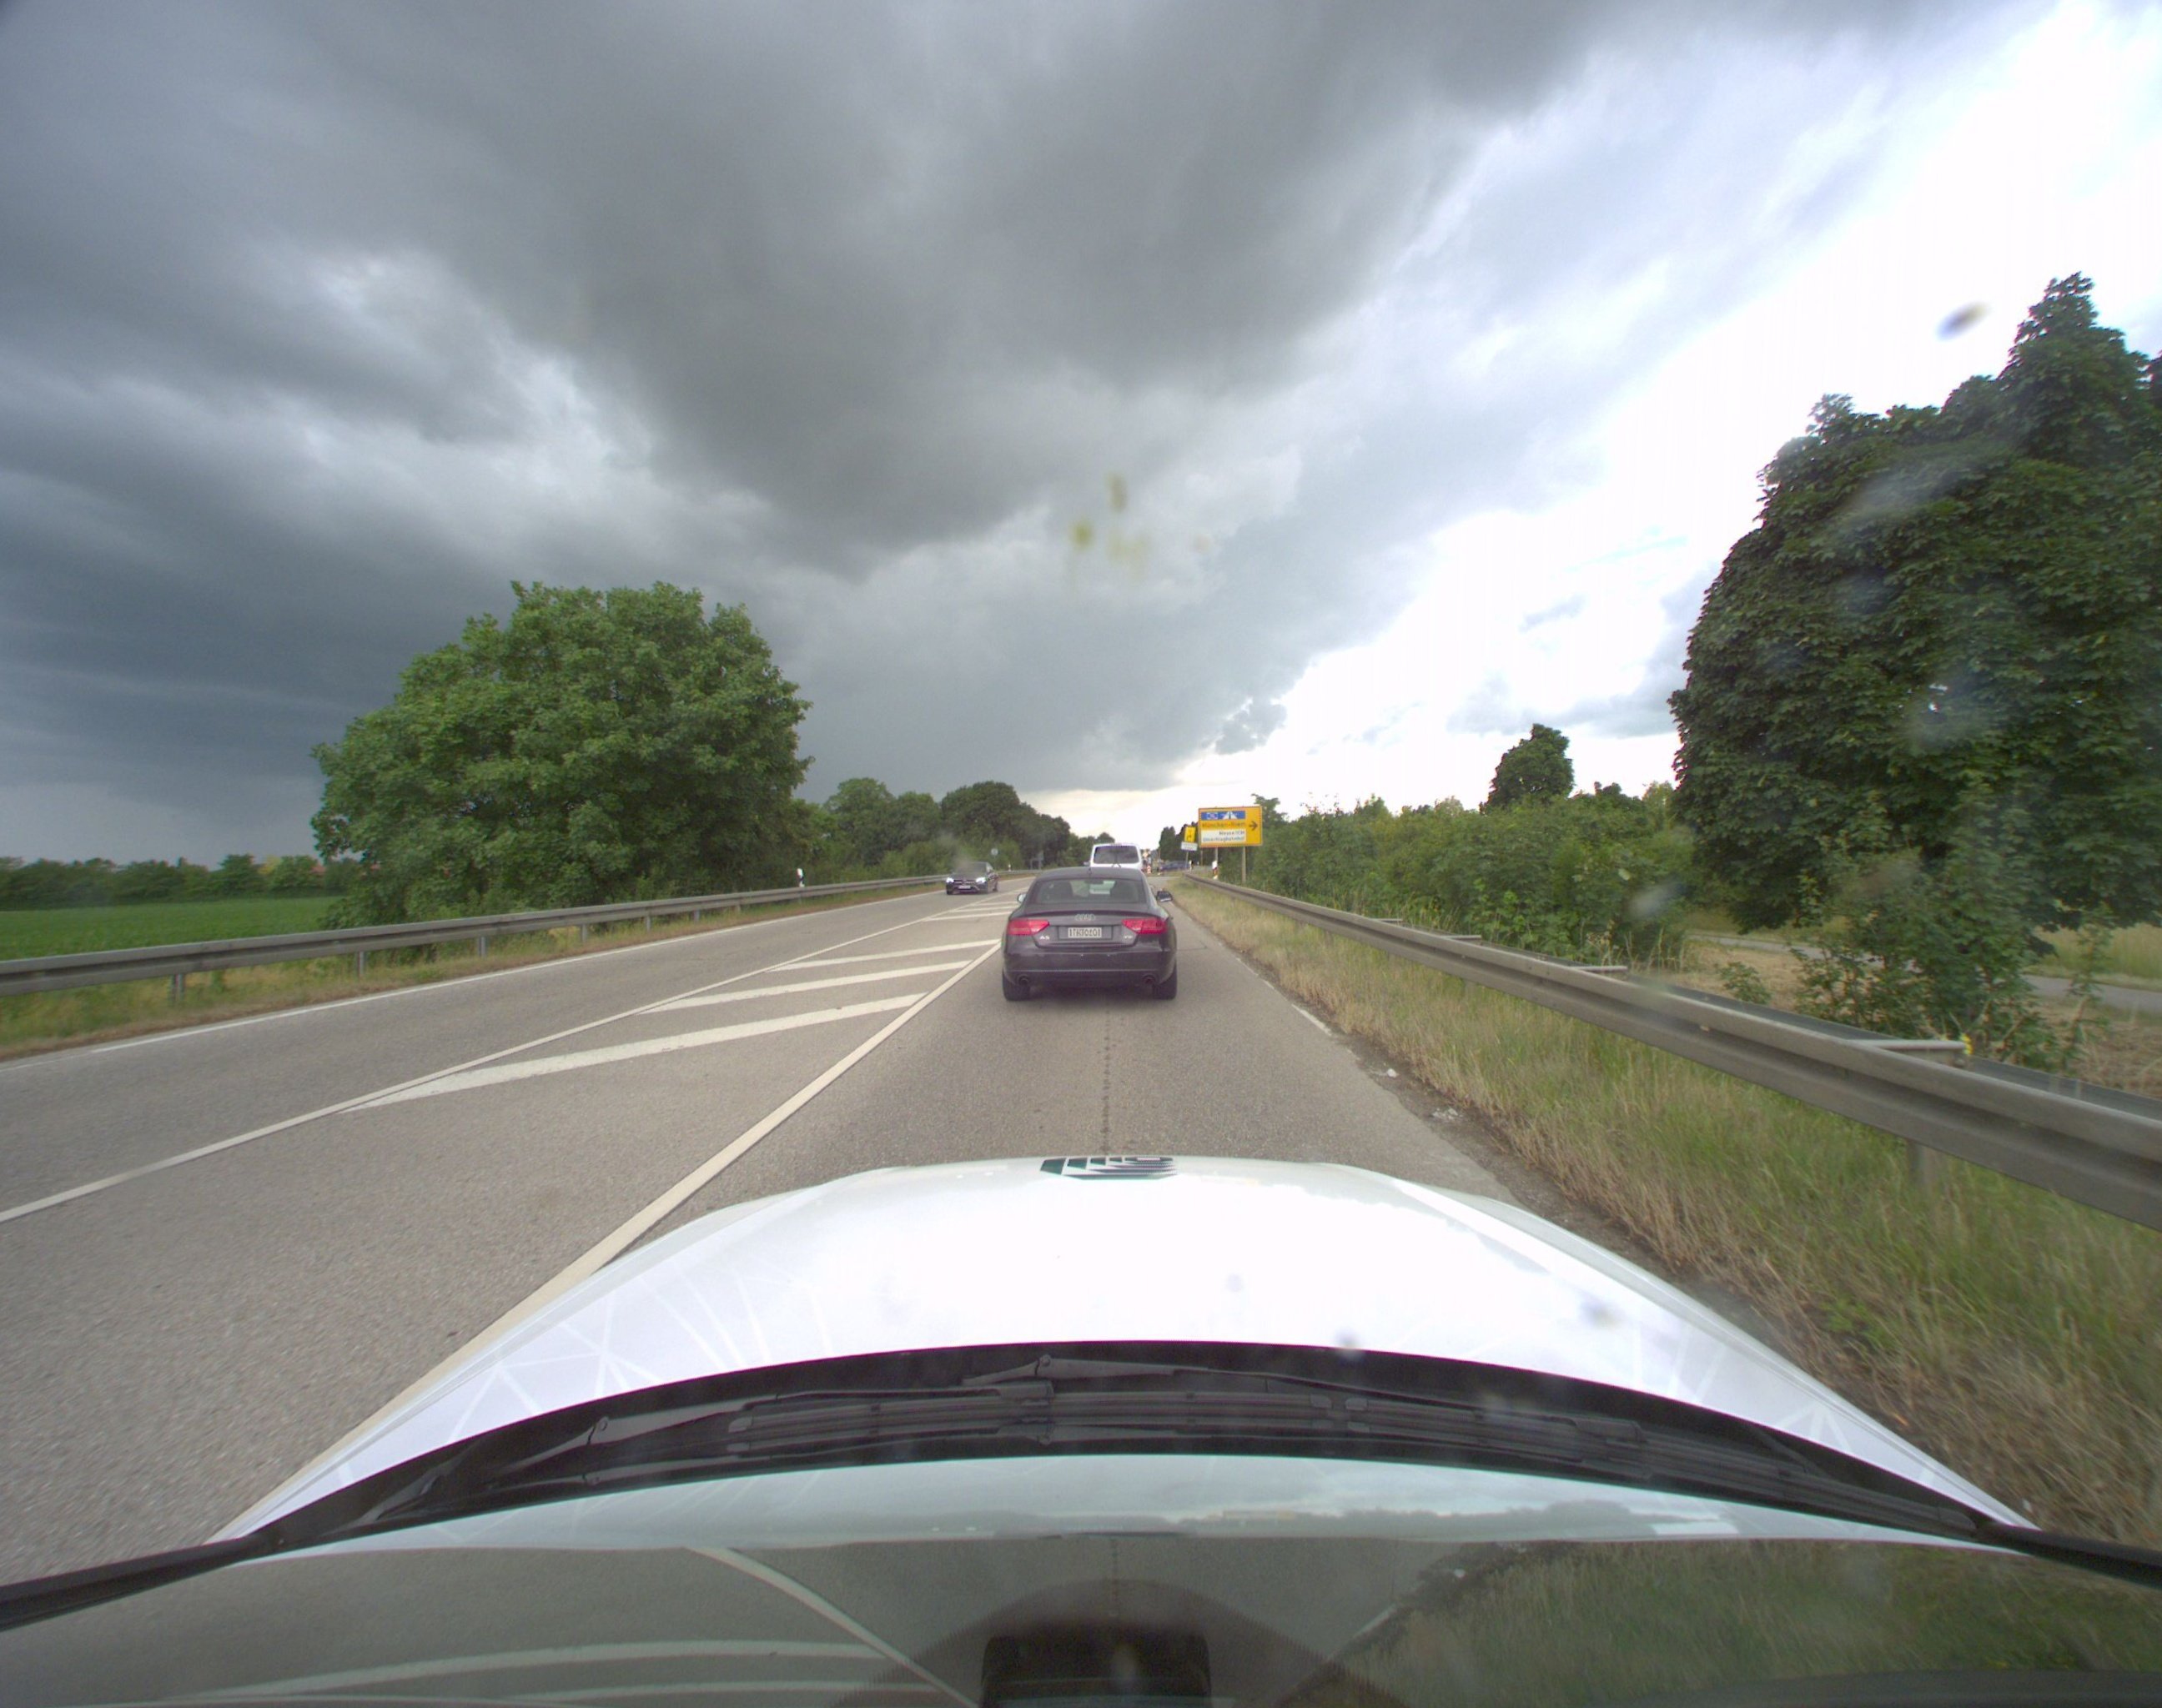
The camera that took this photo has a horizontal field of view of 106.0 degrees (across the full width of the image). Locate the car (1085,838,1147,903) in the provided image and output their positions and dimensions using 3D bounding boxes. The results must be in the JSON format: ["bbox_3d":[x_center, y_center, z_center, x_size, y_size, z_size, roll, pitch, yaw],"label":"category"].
[{"bbox_3d":[1.165,0.520,27.263,1.903,2.013,4.002,-1,0,2],"label":"car"}]

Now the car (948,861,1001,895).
[{"bbox_3d":[-4.762,1.036,36.889,1.616,1.379,4.514,-1,0,2],"label":"car"}]

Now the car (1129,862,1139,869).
[{"bbox_3d":[12.297,2.697,188.705,2.197,1.582,4.381,-1,0,2],"label":"car"}]

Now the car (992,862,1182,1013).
[{"bbox_3d":[0.107,0.805,9.351,1.773,1.399,3.337,-1,-1,2],"label":"car"}]
